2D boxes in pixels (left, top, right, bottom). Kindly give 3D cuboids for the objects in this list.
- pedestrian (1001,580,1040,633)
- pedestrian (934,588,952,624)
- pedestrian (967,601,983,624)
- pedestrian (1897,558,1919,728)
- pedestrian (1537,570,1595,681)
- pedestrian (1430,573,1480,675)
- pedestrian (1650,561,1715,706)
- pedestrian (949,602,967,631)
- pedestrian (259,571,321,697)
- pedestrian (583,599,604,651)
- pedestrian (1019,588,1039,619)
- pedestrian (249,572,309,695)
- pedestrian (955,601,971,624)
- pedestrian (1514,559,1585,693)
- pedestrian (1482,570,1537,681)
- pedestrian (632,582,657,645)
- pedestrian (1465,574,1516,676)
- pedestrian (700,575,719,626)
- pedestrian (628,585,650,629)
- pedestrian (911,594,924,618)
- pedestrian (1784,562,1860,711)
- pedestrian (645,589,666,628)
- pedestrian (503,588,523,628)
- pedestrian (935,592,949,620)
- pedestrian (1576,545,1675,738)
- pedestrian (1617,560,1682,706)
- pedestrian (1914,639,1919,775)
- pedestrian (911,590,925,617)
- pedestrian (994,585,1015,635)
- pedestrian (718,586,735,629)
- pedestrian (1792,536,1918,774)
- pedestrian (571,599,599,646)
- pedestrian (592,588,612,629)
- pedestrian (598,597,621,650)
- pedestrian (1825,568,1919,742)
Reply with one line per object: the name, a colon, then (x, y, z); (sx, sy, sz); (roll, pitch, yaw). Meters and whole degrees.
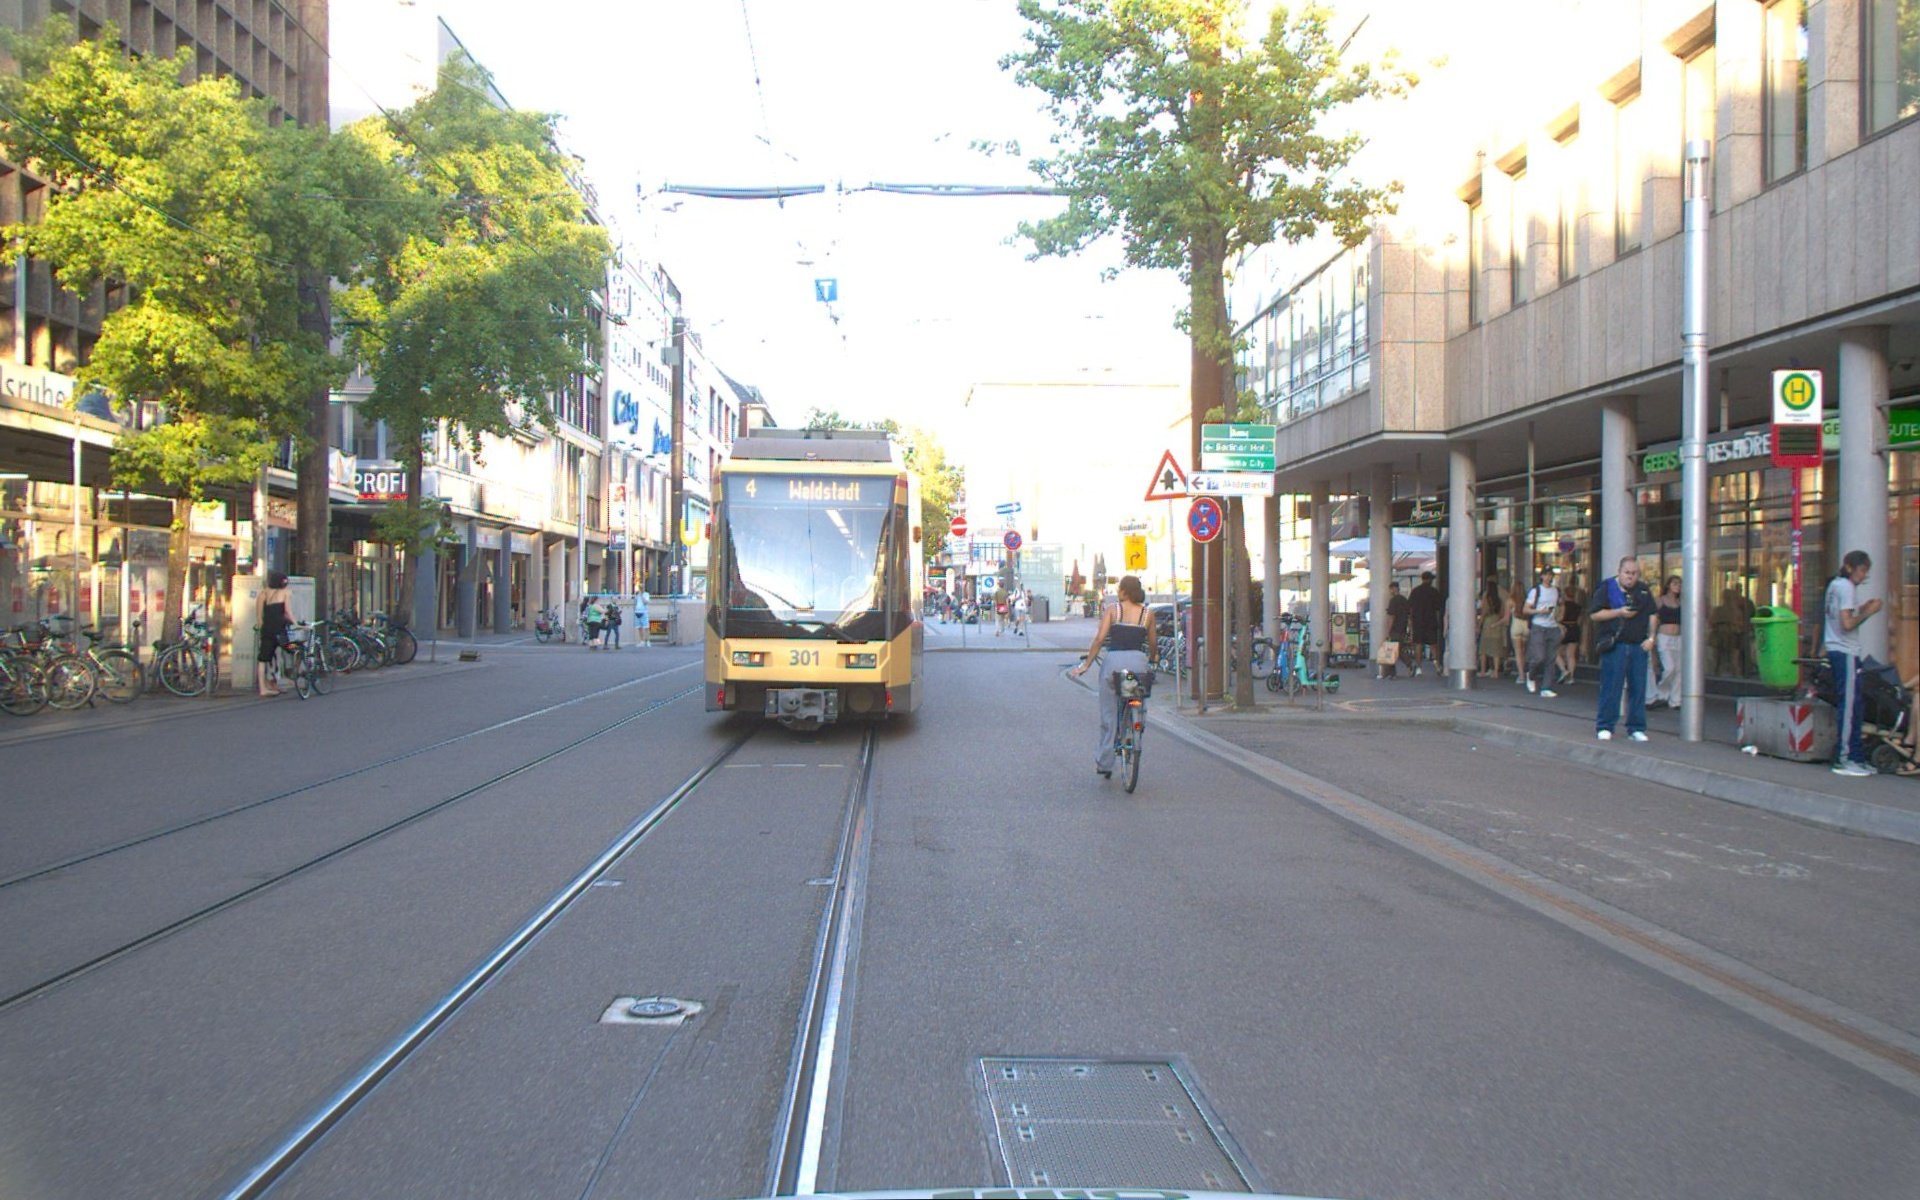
pedestrian: (2.209, 0.234, 60.406); (1.005, 1.896, 1.030); (1, -1, -35)
pedestrian: (-0.892, 0.303, 84.939); (0.722, 1.855, 0.816); (0, 0, -17)
pedestrian: (0.796, 0.660, 88.023); (0.777, 1.243, 0.768); (0, 0, -6)
pedestrian: (10.583, 0.455, 17.597); (0.757, 1.803, 0.773); (-1, -1, -3)
pedestrian: (10.052, 0.418, 27.446); (0.649, 1.818, 0.719); (-1, -1, -2)
pedestrian: (8.946, 0.436, 29.911); (0.649, 1.818, 0.719); (-1, -1, -2)
pedestrian: (9.325, 0.422, 21.363); (0.528, 1.838, 0.604); (-1, 0, -3)
pedestrian: (-0.109, 0.899, 92.871); (0.752, 1.606, 0.794); (0, 0, 27)
pedestrian: (-9.379, 0.467, 23.172); (0.589, 1.729, 0.535); (1, 0, 27)
pedestrian: (-10.752, 0.724, 48.521); (0.592, 1.520, 0.554); (0, -1, -10)
pedestrian: (3.866, 0.196, 92.583); (0.763, 1.690, 0.782); (0, 0, -43)
pedestrian: (-9.730, 0.466, 23.637); (0.589, 1.729, 0.535); (1, 0, 27)
pedestrian: (0.175, 0.655, 88.801); (0.777, 1.243, 0.768); (0, 0, -6)
pedestrian: (8.461, 0.368, 23.755); (0.655, 1.872, 0.879); (-1, 0, -2)
pedestrian: (9.144, 0.426, 27.540); (0.649, 1.818, 0.719); (-1, -1, -2)
pedestrian: (-9.750, 0.418, 51.140); (0.759, 1.960, 0.708); (0, -1, -10)
pedestrian: (9.620, 0.447, 29.990); (0.649, 1.818, 0.719); (-1, -1, -2)
pedestrian: (-9.836, 0.022, 64.883); (0.700, 1.959, 0.708); (0, -1, -7)
pedestrian: (-13.072, 0.285, 67.358); (0.595, 1.756, 0.624); (-1, -1, 44)
pedestrian: (-3.041, 0.443, 118.491); (0.775, 1.690, 0.770); (0, 0, 9)
pedestrian: (10.352, 0.433, 19.879); (0.559, 1.762, 0.617); (-1, 0, -3)
pedestrian: (-12.473, 0.352, 67.830); (0.623, 1.616, 0.595); (1, -1, -45)
pedestrian: (-19.523, 0.358, 72.293); (0.699, 1.756, 0.709); (0, -1, -4)
pedestrian: (-1.103, 0.359, 101.150); (0.775, 1.690, 0.770); (0, 0, 9)
pedestrian: (6.614, 0.401, 16.462); (0.655, 1.872, 0.708); (-1, 0, -3)
pedestrian: (8.794, 0.414, 21.104); (0.528, 1.838, 0.604); (-1, 0, -3)
pedestrian: (7.940, 0.845, 12.800); (0.796, 1.061, 0.544); (1, -1, -1)
pedestrian: (-2.654, 0.245, 104.782); (0.750, 1.690, 0.795); (0, 0, 10)
pedestrian: (1.607, 0.357, 59.318); (0.704, 1.756, 0.709); (0, -1, -3)
pedestrian: (-9.598, 0.309, 67.999); (0.700, 1.727, 0.784); (0, -1, -8)
pedestrian: (7.235, 0.436, 13.398); (0.626, 1.872, 0.667); (-1, -1, -1)
pedestrian: (-11.752, 0.715, 51.866); (0.544, 1.459, 0.682); (-1, -1, 35)
pedestrian: (-15.165, 0.370, 70.068); (0.699, 1.756, 0.709); (0, -1, -4)
pedestrian: (-10.447, 0.694, 49.288); (0.672, 1.569, 0.604); (0, -1, -11)
pedestrian: (9.087, 0.534, 16.412); (0.635, 1.690, 0.650); (-1, 0, -2)
